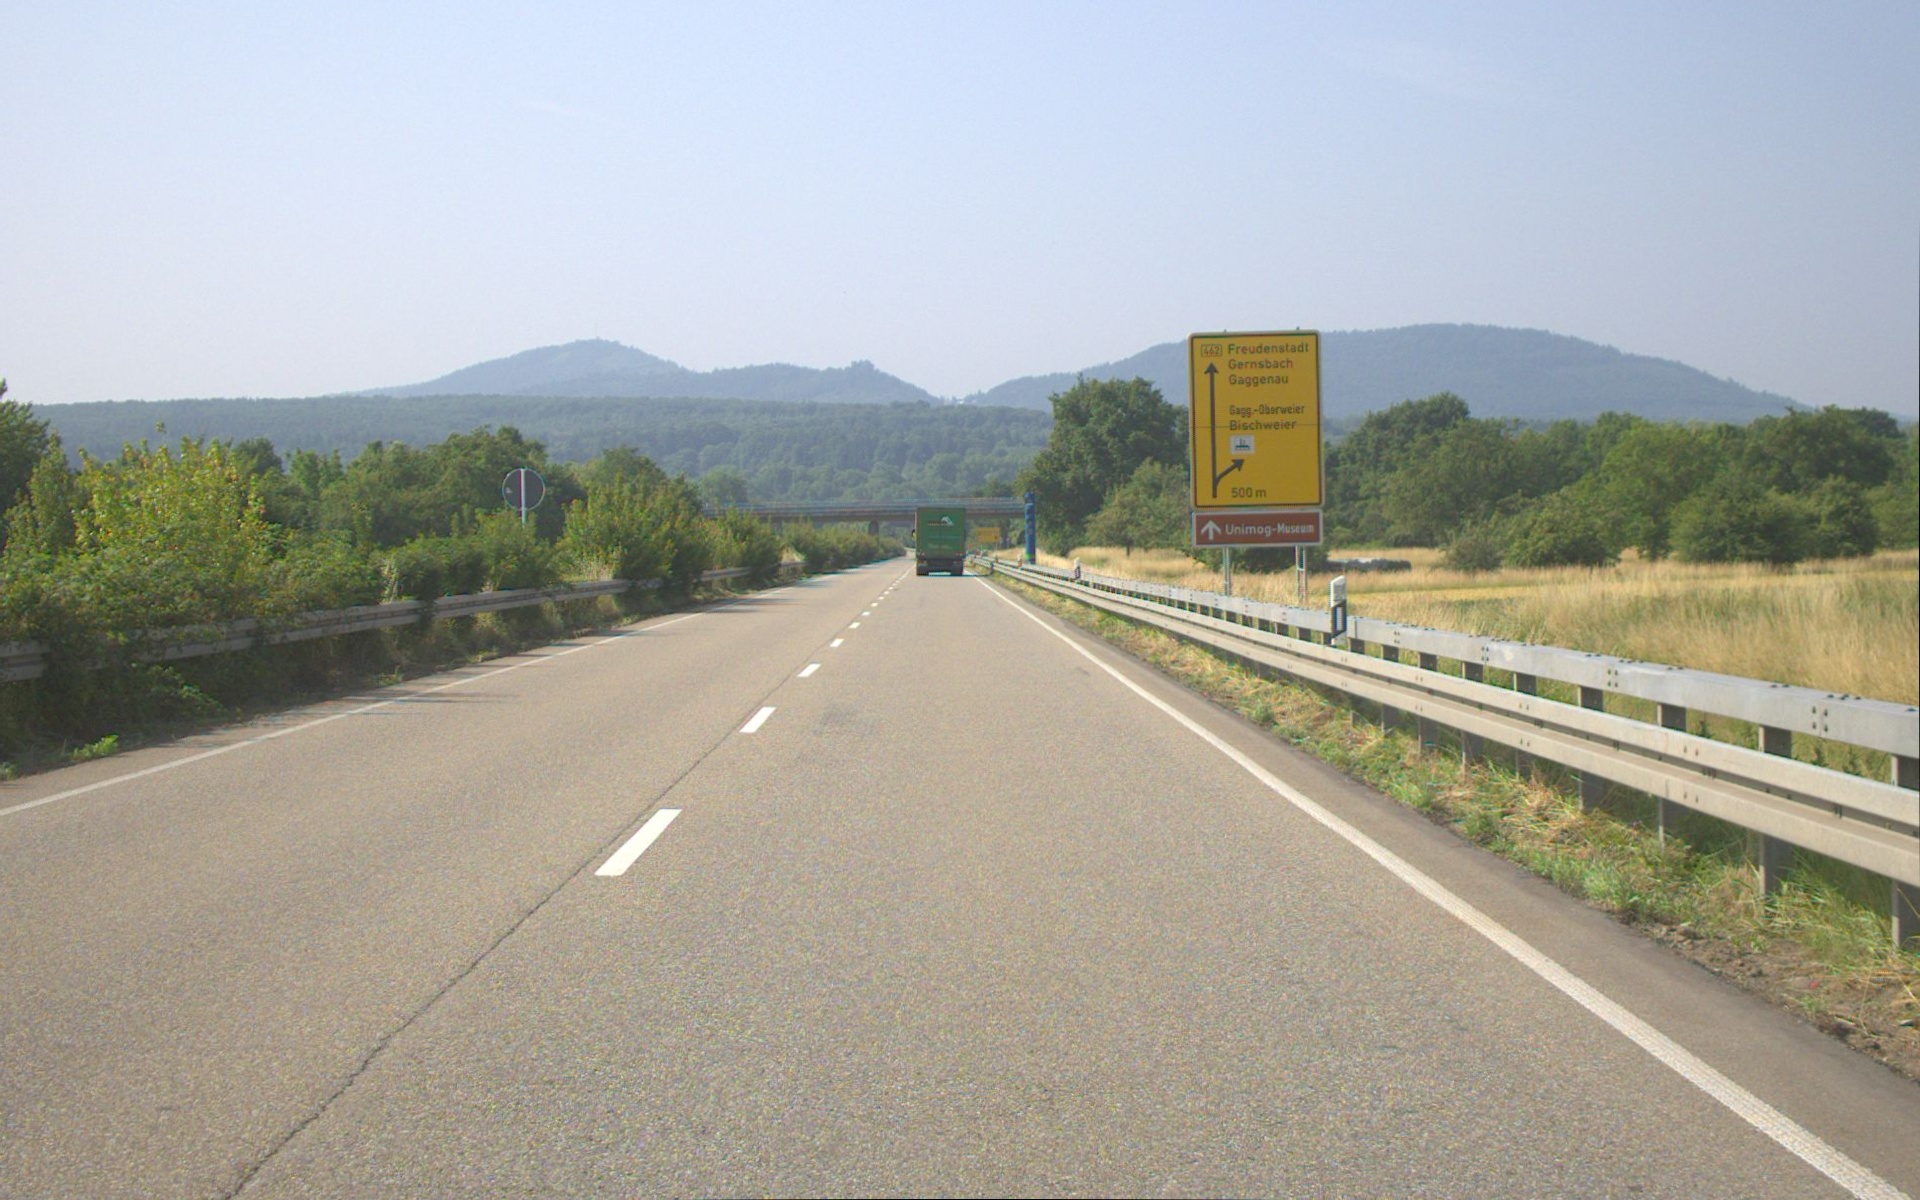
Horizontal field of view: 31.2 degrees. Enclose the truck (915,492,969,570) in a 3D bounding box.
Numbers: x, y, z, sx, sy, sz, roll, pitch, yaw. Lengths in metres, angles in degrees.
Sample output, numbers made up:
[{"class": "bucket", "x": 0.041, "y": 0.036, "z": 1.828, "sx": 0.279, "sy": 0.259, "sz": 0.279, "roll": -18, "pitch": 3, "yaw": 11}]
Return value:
[{"class": "truck", "x": -0.915, "y": -3.743, "z": 183.955, "sx": 2.722, "sy": 3.952, "sz": 10.417, "roll": 1, "pitch": 2, "yaw": 0}]
